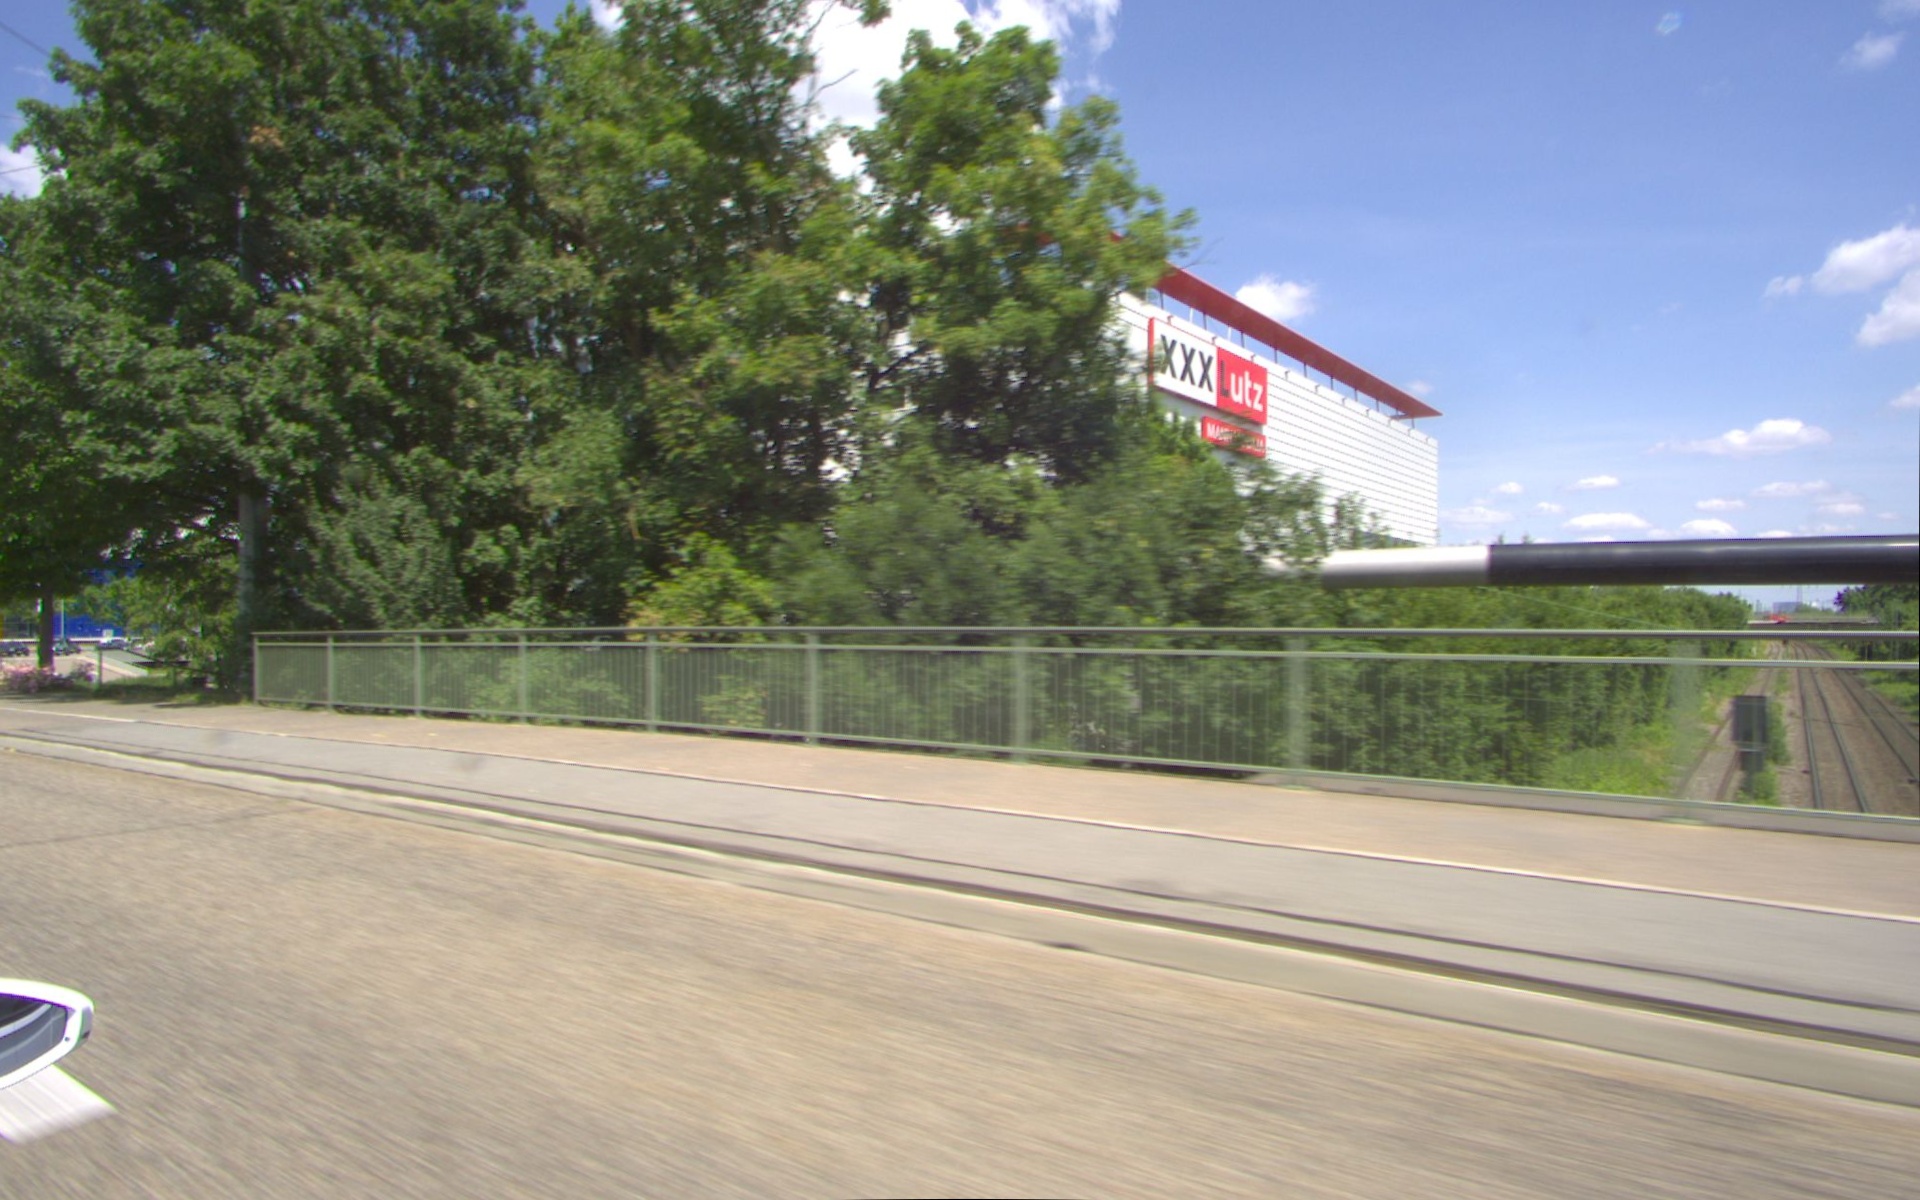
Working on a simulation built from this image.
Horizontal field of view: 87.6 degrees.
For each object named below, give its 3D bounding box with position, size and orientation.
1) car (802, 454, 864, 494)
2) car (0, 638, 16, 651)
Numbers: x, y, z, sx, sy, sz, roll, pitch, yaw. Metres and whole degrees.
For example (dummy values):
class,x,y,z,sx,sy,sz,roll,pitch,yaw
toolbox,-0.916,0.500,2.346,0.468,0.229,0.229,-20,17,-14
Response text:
class,x,y,z,sx,sy,sz,roll,pitch,yaw
car,-6.846,-6.810,54.265,1.524,1.536,3.358,-1,-3,34
car,-108.706,5.042,113.405,3.832,1.501,1.569,-1,-3,31
